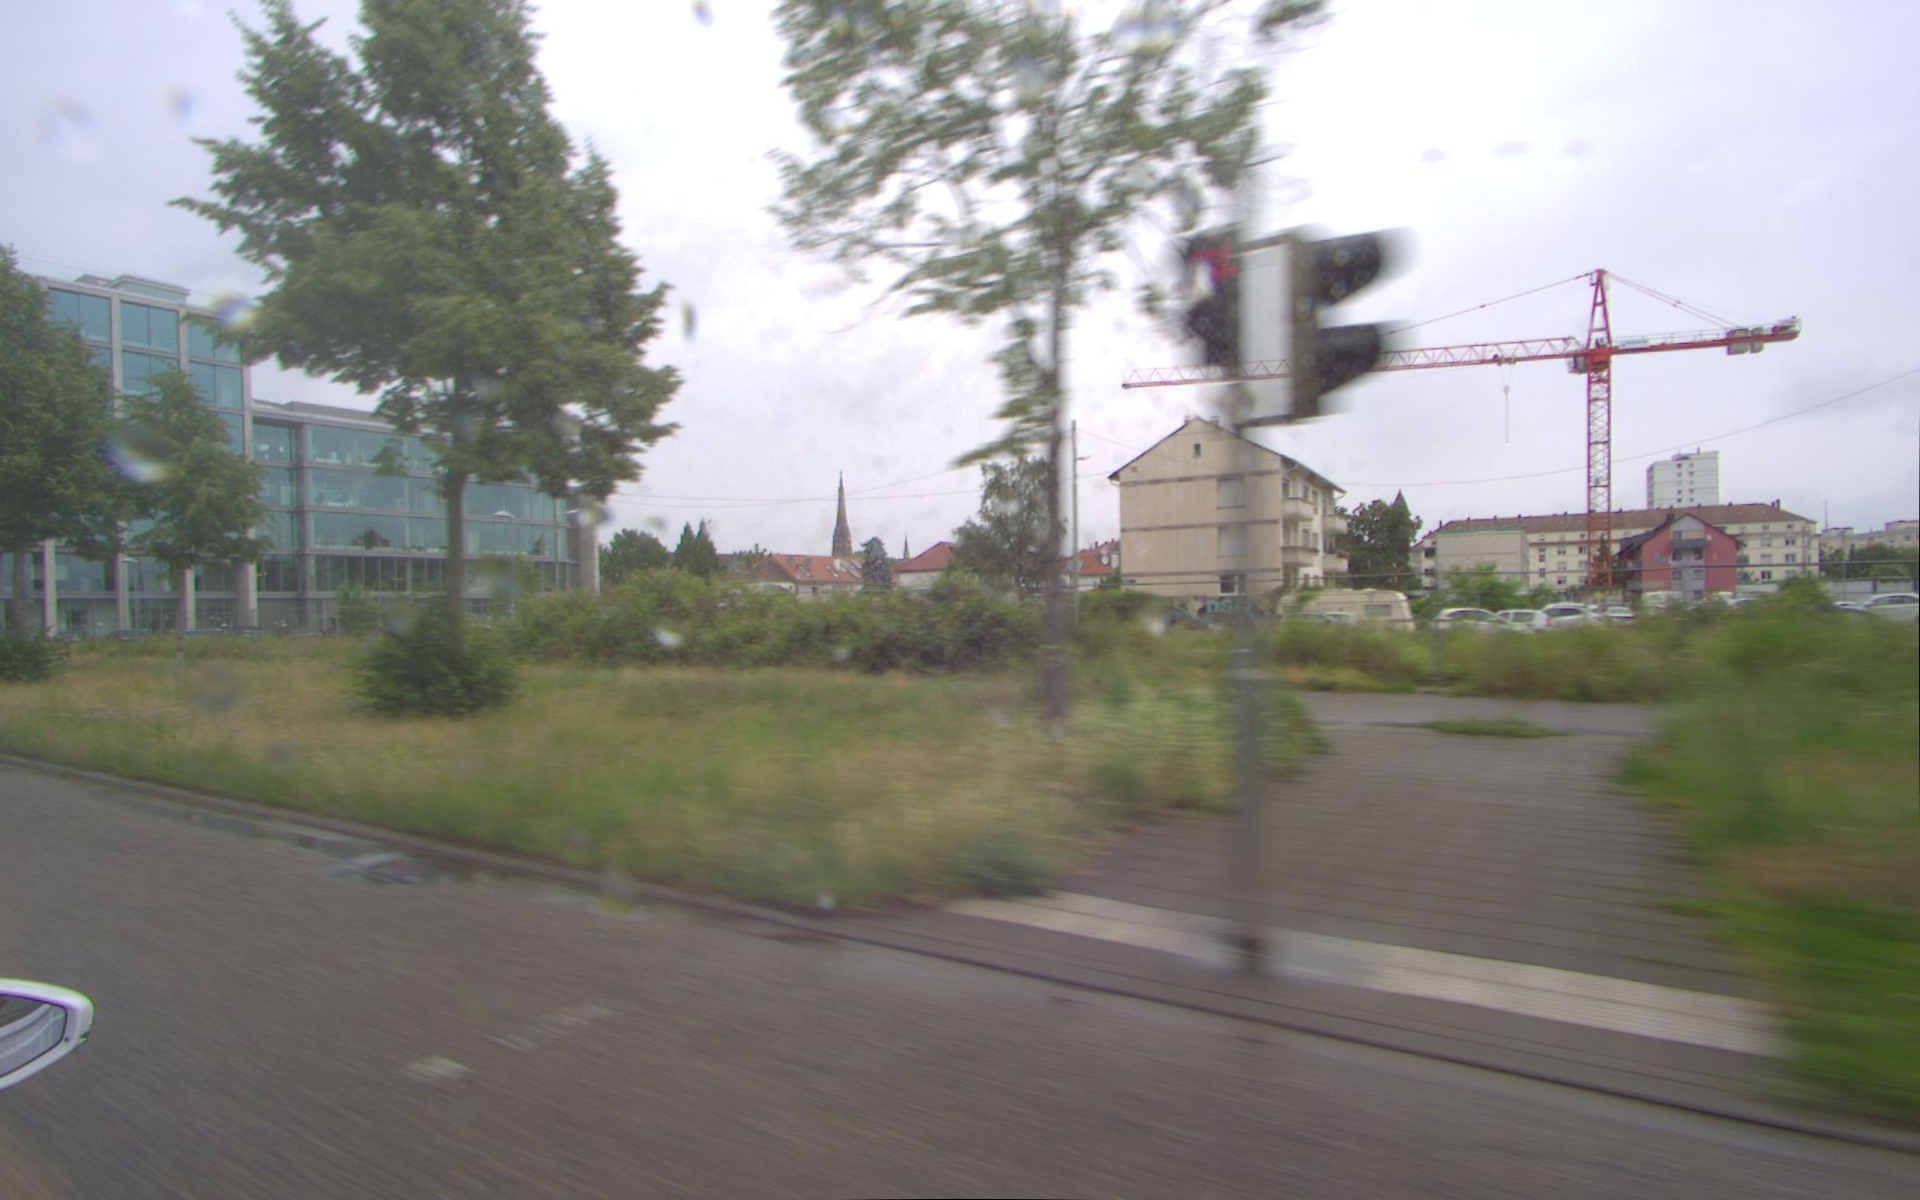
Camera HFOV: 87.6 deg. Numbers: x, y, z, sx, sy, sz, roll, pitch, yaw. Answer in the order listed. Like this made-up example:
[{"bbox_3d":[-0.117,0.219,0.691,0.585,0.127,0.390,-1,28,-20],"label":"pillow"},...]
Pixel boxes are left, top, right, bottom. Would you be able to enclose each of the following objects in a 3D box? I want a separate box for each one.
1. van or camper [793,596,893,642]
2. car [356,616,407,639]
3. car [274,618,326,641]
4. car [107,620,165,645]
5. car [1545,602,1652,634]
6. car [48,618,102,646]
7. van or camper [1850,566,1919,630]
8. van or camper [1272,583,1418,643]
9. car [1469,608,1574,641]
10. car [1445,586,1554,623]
[{"bbox_3d":[-8.198,1.344,69.982,6.682,3.033,2.900,-1,-1,33],"label":"van or camper"},{"bbox_3d":[-41.745,1.988,72.249,3.951,1.622,1.848,-1,-1,38],"label":"car"},{"bbox_3d":[-45.059,2.013,68.338,4.178,1.494,1.779,-1,-1,38],"label":"car"},{"bbox_3d":[-50.650,1.953,61.531,4.501,1.474,1.848,-1,-1,38],"label":"car"},{"bbox_3d":[28.564,0.810,44.898,3.977,1.370,1.692,-1,0,34],"label":"car"},{"bbox_3d":[-52.591,1.871,59.498,3.953,1.601,1.847,-1,-1,40],"label":"car"},{"bbox_3d":[37.610,-0.075,37.063,6.550,2.336,2.500,-1,-2,31],"label":"van or camper"},{"bbox_3d":[18.464,0.633,48.148,6.302,2.724,2.304,-1,0,31],"label":"van or camper"},{"bbox_3d":[24.767,1.079,44.205,3.977,1.370,1.692,-1,-1,34],"label":"car"},{"bbox_3d":[29.335,0.285,54.607,5.128,1.919,2.160,-1,0,29],"label":"car"}]
